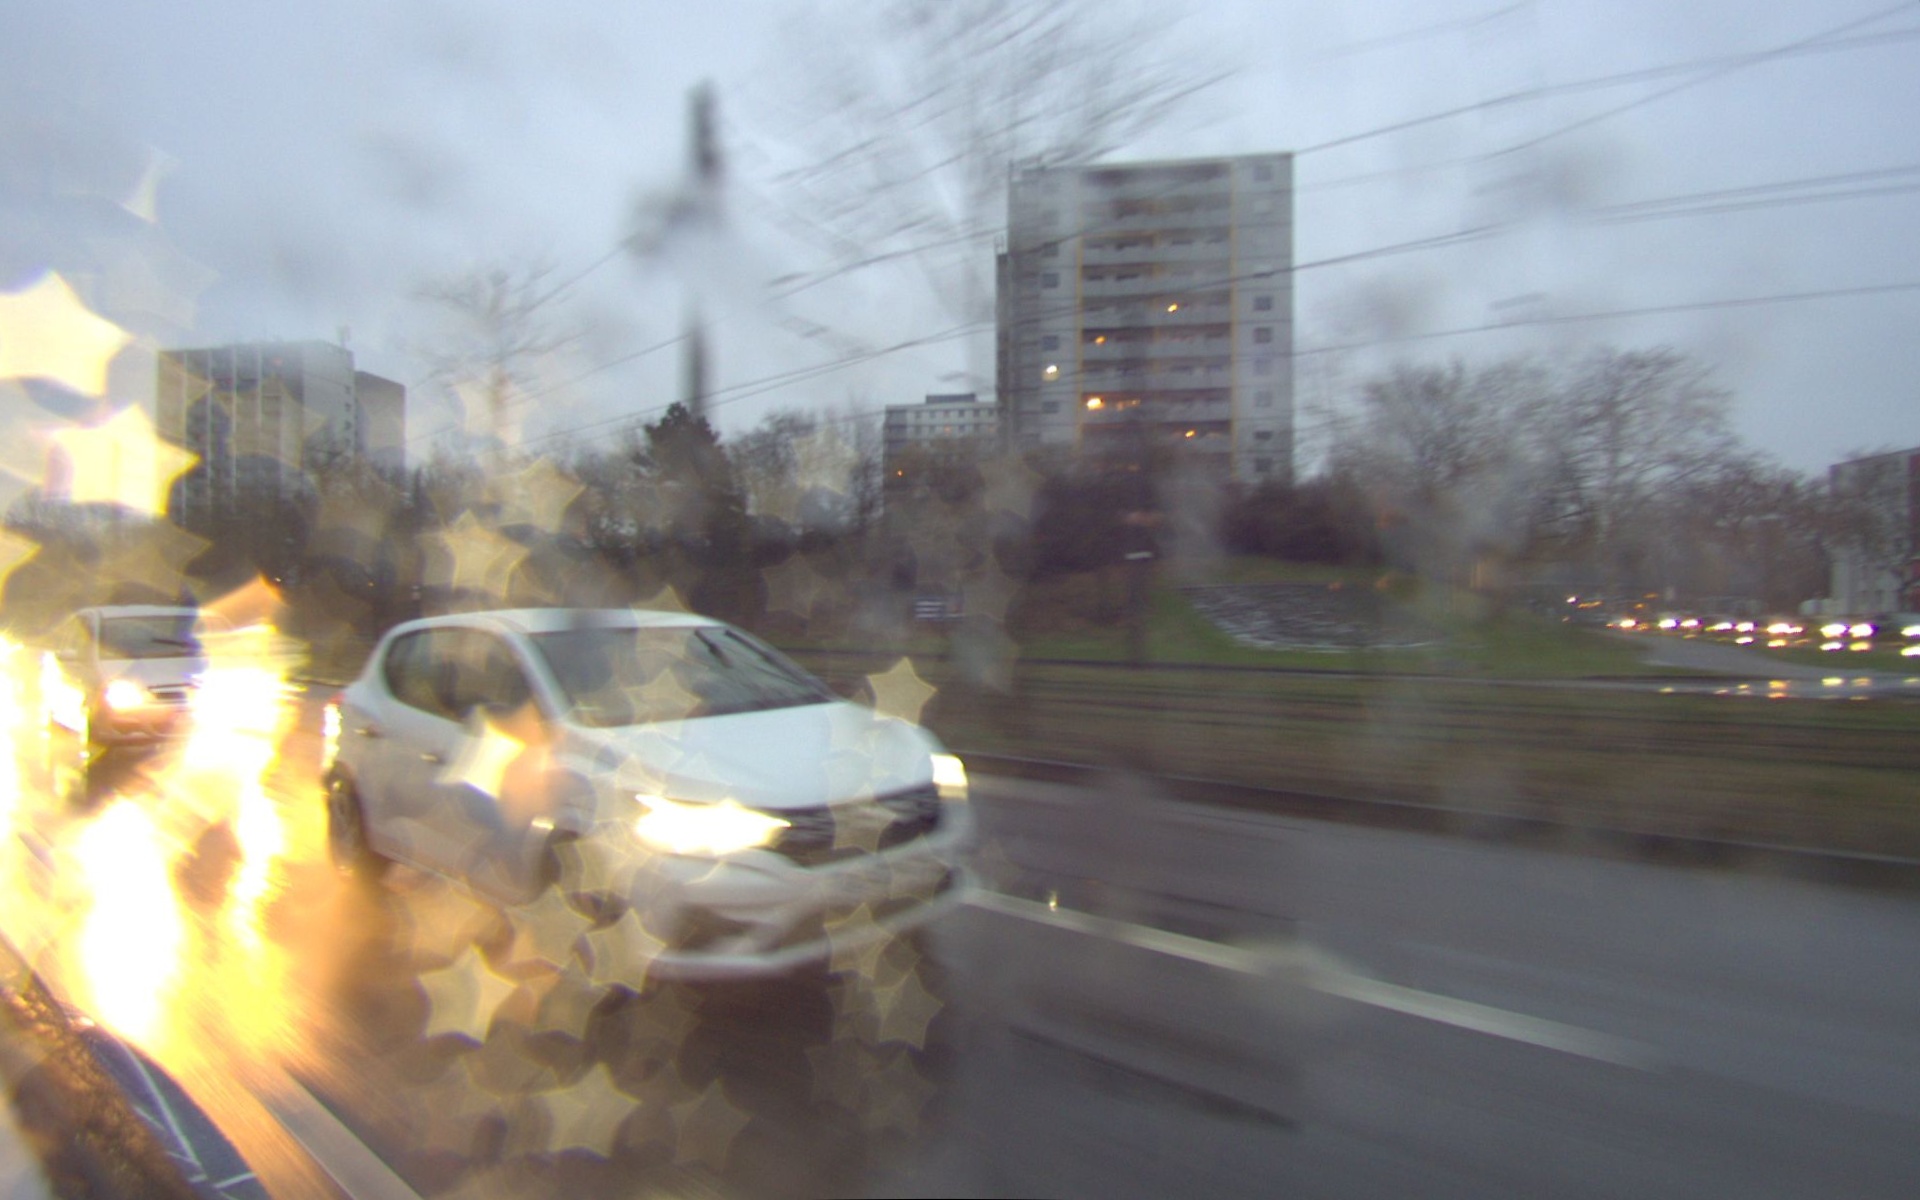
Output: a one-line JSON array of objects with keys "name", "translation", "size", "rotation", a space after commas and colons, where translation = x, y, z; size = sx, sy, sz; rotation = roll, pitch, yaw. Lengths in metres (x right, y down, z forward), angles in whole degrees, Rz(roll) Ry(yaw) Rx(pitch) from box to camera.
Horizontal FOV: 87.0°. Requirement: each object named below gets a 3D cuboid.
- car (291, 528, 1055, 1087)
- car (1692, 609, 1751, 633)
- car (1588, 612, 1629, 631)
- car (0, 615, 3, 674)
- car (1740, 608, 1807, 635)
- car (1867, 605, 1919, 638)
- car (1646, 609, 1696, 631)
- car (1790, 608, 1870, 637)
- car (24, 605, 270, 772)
[{"name": "car", "translation": [-1.703, 0.652, 5.036], "size": [4.145, 1.660, 1.696], "rotation": [-1, -1, 41]}, {"name": "car", "translation": [50.852, 1.387, 67.643], "size": [1.696, 1.556, 3.963], "rotation": [0, -1, 14]}, {"name": "car", "translation": [54.919, 1.801, 85.757], "size": [1.696, 1.556, 3.963], "rotation": [0, -1, 14]}, {"name": "car", "translation": [-28.493, 1.252, 28.391], "size": [4.121, 1.612, 1.928], "rotation": [-1, -1, 40]}, {"name": "car", "translation": [49.596, 1.323, 61.799], "size": [1.696, 1.556, 3.808], "rotation": [0, -1, 14]}, {"name": "car", "translation": [46.579, 1.060, 49.426], "size": [1.696, 1.556, 3.982], "rotation": [0, -1, 14]}, {"name": "car", "translation": [52.437, 1.461, 74.709], "size": [1.696, 1.556, 3.963], "rotation": [0, -1, 14]}, {"name": "car", "translation": [48.246, 1.237, 56.215], "size": [1.696, 1.556, 3.982], "rotation": [0, -1, 14]}, {"name": "car", "translation": [-9.473, 0.877, 11.666], "size": [4.191, 1.551, 1.671], "rotation": [-1, 0, 44]}]
